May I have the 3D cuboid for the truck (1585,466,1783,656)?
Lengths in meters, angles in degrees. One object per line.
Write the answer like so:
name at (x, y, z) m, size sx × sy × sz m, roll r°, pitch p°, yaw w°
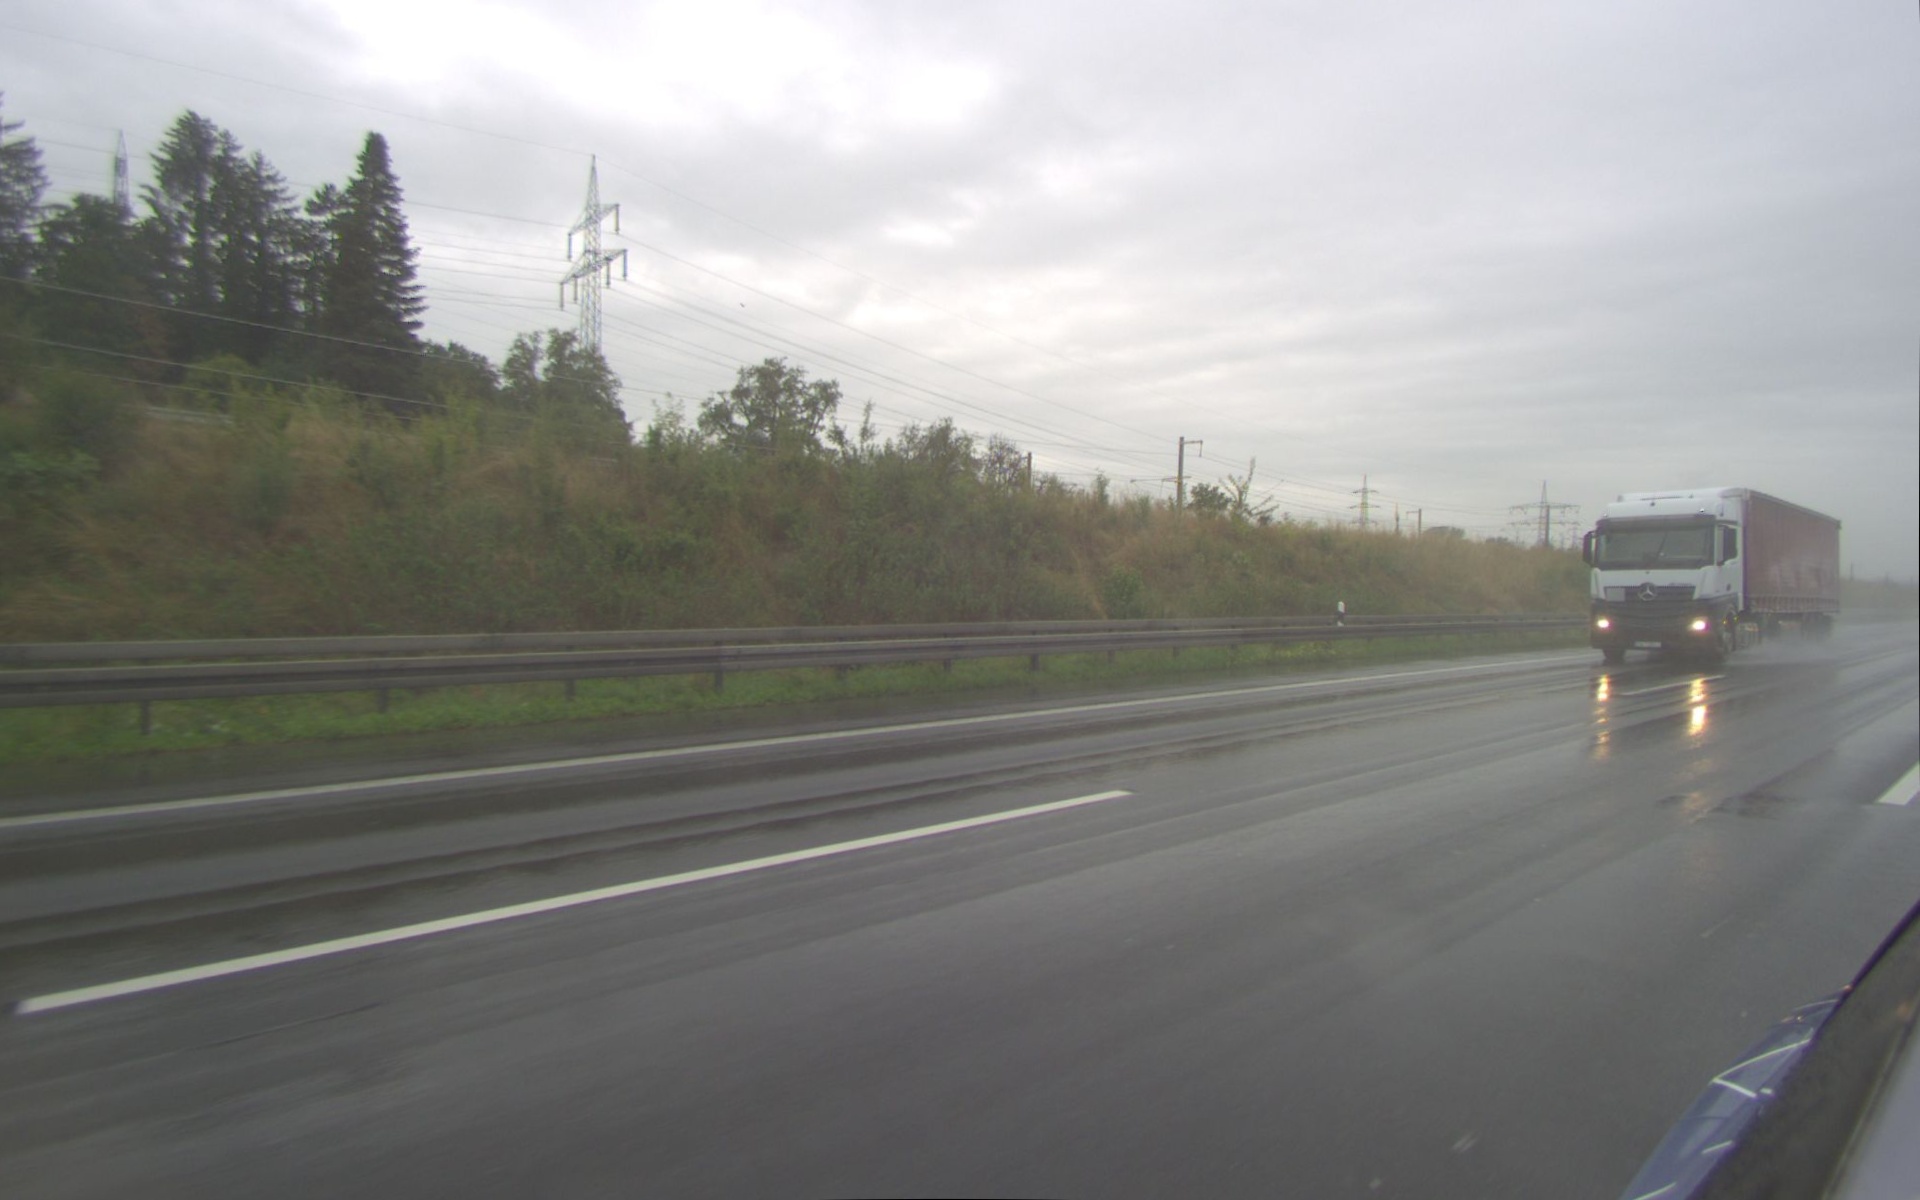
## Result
truck at (17.191, -0.800, 23.881) m, size 6.090 × 3.938 × 2.456 m, roll 0°, pitch 0°, yaw -41°

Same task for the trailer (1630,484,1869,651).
trailer at (23.405, -0.729, 29.347) m, size 16.256 × 3.813 × 2.484 m, roll 0°, pitch 0°, yaw -41°
